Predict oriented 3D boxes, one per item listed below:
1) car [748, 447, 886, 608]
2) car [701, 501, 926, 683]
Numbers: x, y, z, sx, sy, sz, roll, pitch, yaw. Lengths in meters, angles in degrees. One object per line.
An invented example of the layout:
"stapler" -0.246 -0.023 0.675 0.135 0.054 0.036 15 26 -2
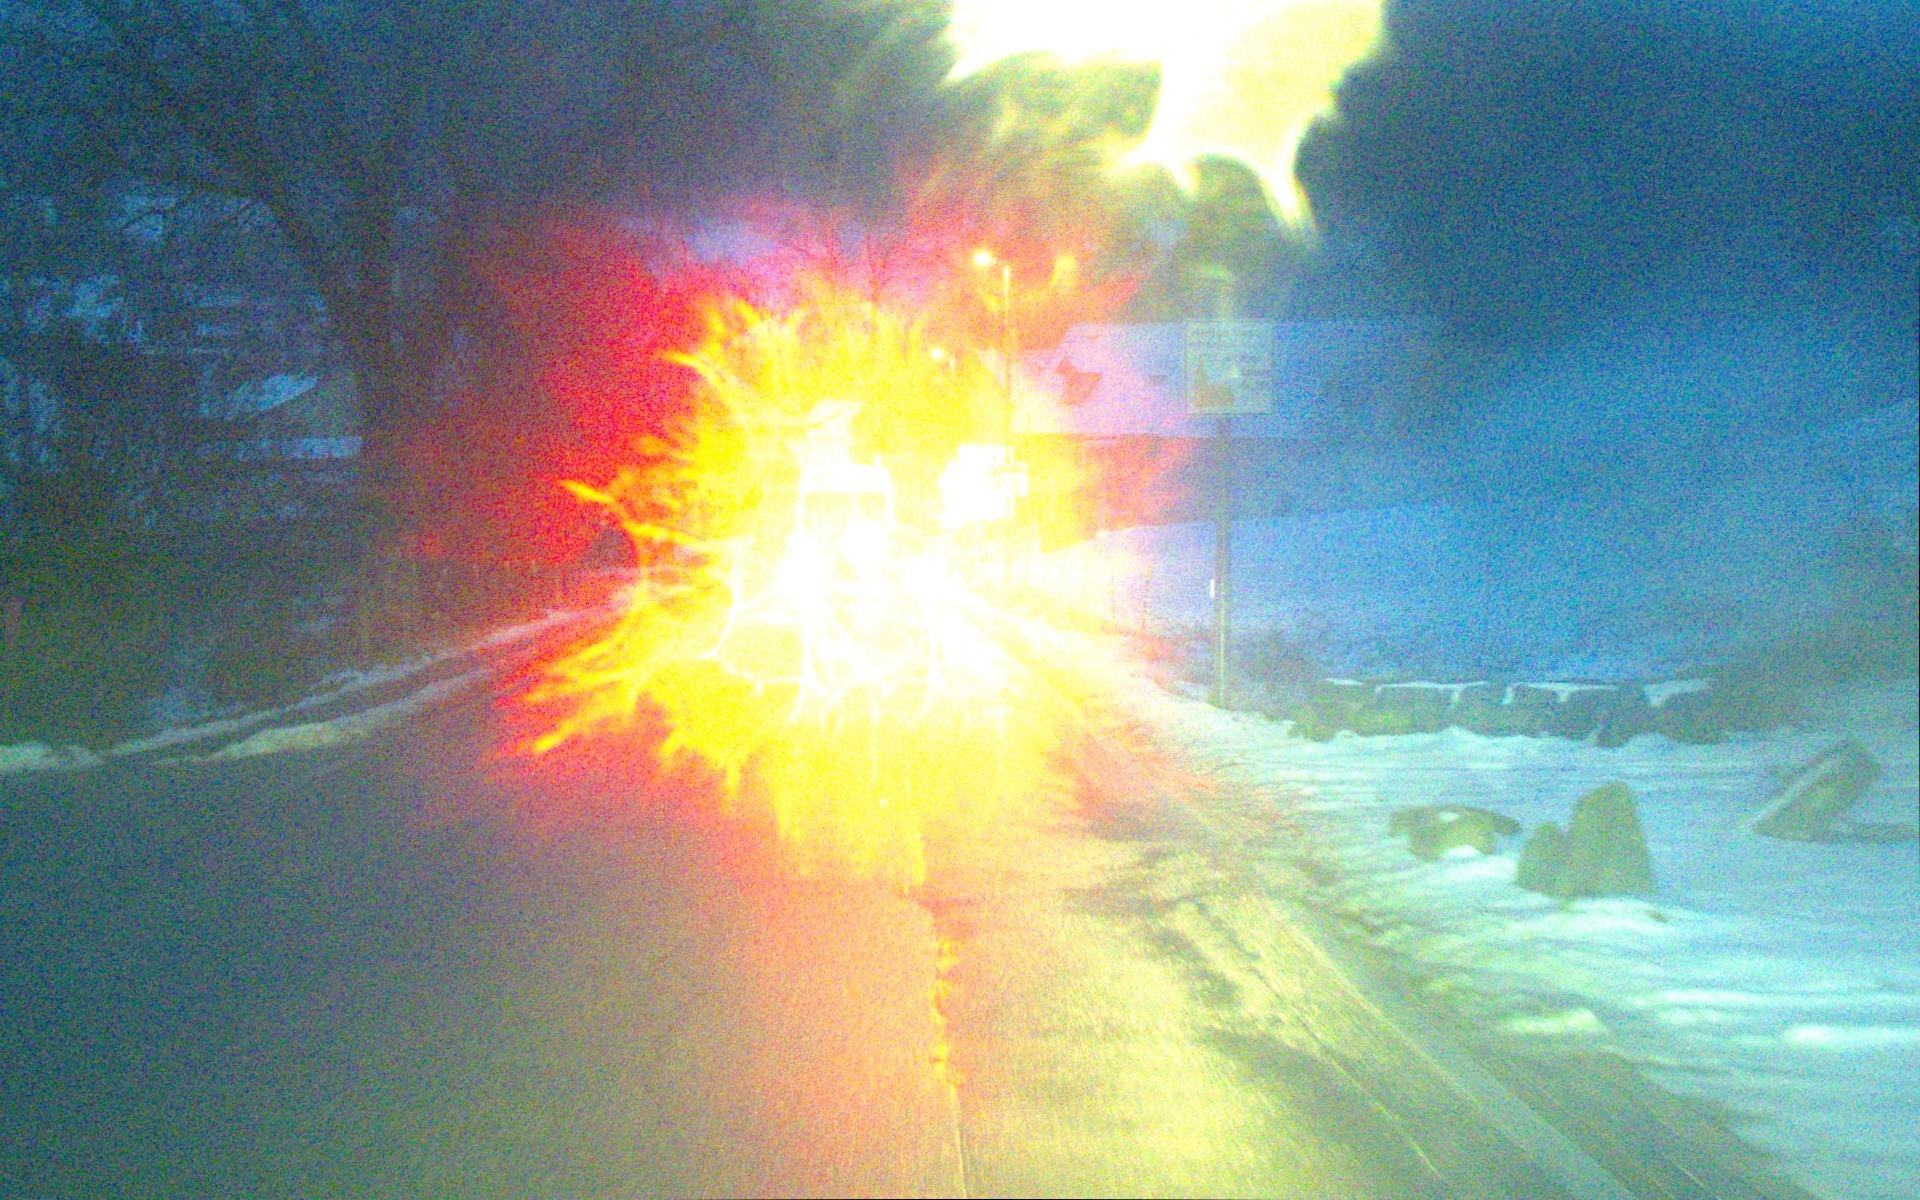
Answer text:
"car" -2.799 -1.384 68.561 2.435 3.008 5.325 -2 0 0
"car" -1.550 -0.120 37.477 2.274 1.834 5.007 -1 1 -1
